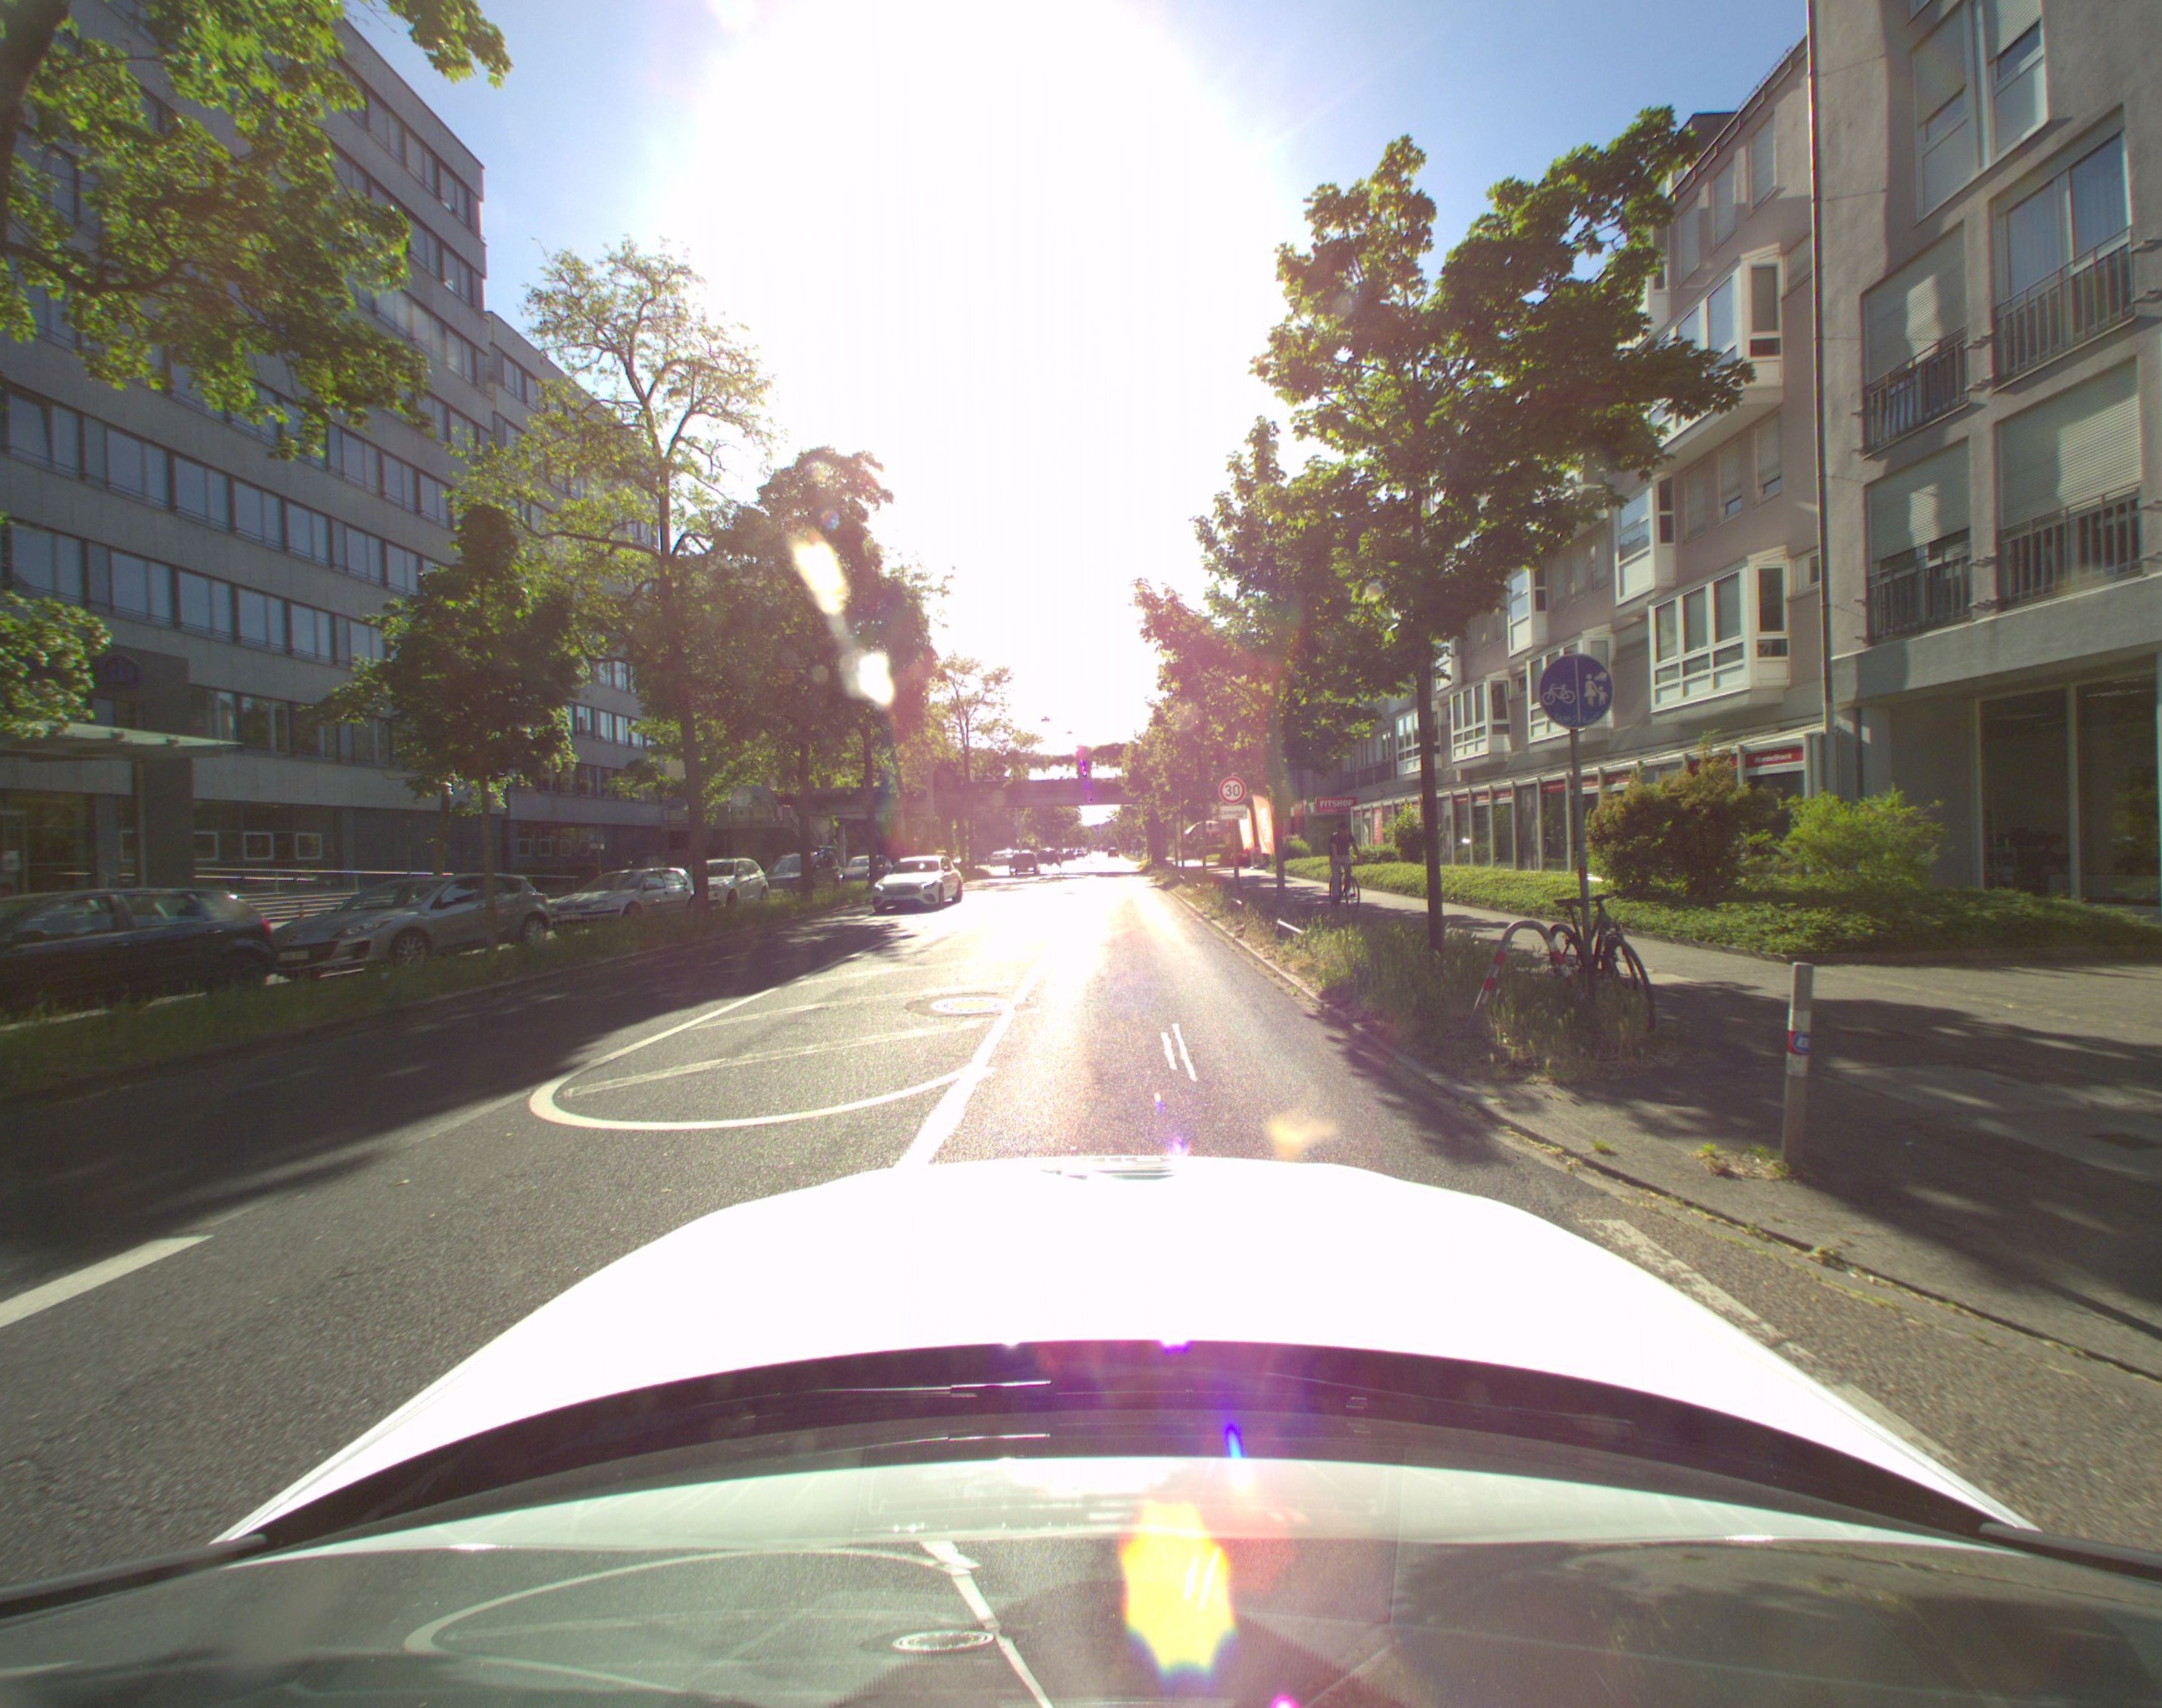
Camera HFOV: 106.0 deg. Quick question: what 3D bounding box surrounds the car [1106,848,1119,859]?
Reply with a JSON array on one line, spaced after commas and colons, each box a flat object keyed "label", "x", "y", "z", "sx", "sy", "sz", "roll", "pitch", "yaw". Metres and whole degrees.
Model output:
[{"label": "car", "x": 4.684, "y": -0.110, "z": 119.668, "sx": 1.848, "sy": 1.523, "sz": 4.323, "roll": -1, "pitch": 1, "yaw": 3}]

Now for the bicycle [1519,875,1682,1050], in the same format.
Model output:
[{"label": "bicycle", "x": 3.993, "y": 0.747, "z": 6.427, "sx": 0.586, "sy": 1.066, "sz": 2.032, "roll": -1, "pitch": 1, "yaw": 18}]

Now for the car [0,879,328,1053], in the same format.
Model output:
[{"label": "car", "x": -11.070, "y": 1.129, "z": 8.722, "sx": 1.774, "sy": 1.523, "sz": 4.323, "roll": -1, "pitch": 1, "yaw": 4}]

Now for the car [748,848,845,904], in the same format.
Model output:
[{"label": "car", "x": -10.332, "y": 0.730, "z": 29.995, "sx": 1.849, "sy": 1.850, "sz": 4.563, "roll": -1, "pitch": 1, "yaw": 1}]

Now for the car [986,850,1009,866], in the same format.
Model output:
[{"label": "car", "x": -8.339, "y": 0.402, "z": 81.524, "sx": 1.849, "sy": 1.523, "sz": 4.078, "roll": -1, "pitch": 1, "yaw": 1}]

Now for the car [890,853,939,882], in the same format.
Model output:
[{"label": "car", "x": -9.661, "y": 0.763, "z": 47.620, "sx": 1.849, "sy": 1.523, "sz": 4.320, "roll": -1, "pitch": 1, "yaw": 1}]

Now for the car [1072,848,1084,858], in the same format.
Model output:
[{"label": "car", "x": -0.458, "y": -0.204, "z": 135.417, "sx": 1.849, "sy": 1.523, "sz": 4.320, "roll": -1, "pitch": 1, "yaw": 1}]

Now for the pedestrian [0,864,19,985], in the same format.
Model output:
[{"label": "pedestrian", "x": -19.156, "y": 1.224, "z": 14.020, "sx": 0.784, "sy": 2.093, "sz": 0.776, "roll": 0, "pitch": -1, "yaw": 13}]

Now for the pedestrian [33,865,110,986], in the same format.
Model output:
[{"label": "pedestrian", "x": -18.173, "y": 1.241, "z": 14.666, "sx": 0.763, "sy": 2.093, "sz": 0.797, "roll": 0, "pitch": -1, "yaw": 34}]

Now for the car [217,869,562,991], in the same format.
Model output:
[{"label": "car", "x": -10.889, "y": 1.095, "z": 13.363, "sx": 1.849, "sy": 1.523, "sz": 4.320, "roll": -1, "pitch": 1, "yaw": 2}]

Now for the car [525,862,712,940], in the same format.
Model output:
[{"label": "car", "x": -10.653, "y": 1.019, "z": 19.156, "sx": 1.848, "sy": 1.523, "sz": 4.067, "roll": -1, "pitch": 1, "yaw": 3}]

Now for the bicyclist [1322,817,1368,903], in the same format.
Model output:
[{"label": "bicyclist", "x": 5.379, "y": 0.121, "z": 16.629, "sx": 0.665, "sy": 1.695, "sz": 0.889, "roll": -1, "pitch": 0, "yaw": 2}]

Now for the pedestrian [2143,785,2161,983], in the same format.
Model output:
[{"label": "pedestrian", "x": 9.061, "y": 0.218, "z": 6.353, "sx": 0.652, "sy": 1.604, "sz": 0.602, "roll": -5, "pitch": 0, "yaw": -4}]

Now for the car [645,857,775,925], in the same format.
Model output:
[{"label": "car", "x": -10.649, "y": 0.976, "z": 23.798, "sx": 1.852, "sy": 1.684, "sz": 4.659, "roll": -1, "pitch": 1, "yaw": -3}]

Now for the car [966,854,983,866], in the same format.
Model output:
[{"label": "car", "x": -15.203, "y": 0.832, "z": 116.529, "sx": 1.849, "sy": 1.523, "sz": 4.320, "roll": -1, "pitch": 1, "yaw": 1}]

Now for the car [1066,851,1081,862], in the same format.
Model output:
[{"label": "car", "x": -1.030, "y": 0.331, "z": 112.288, "sx": 1.849, "sy": 1.523, "sz": 4.320, "roll": -1, "pitch": 1, "yaw": 1}]

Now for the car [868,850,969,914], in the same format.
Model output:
[{"label": "car", "x": -4.672, "y": 0.737, "z": 24.171, "sx": 1.849, "sy": 1.568, "sz": 4.717, "roll": -3, "pitch": 0, "yaw": 1}]

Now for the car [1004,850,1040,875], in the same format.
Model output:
[{"label": "car", "x": -3.812, "y": 0.544, "z": 53.375, "sx": 1.849, "sy": 1.439, "sz": 4.320, "roll": -3, "pitch": 1, "yaw": 1}]

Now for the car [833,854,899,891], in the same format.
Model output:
[{"label": "car", "x": -9.951, "y": 0.834, "z": 37.925, "sx": 1.848, "sy": 1.568, "sz": 3.874, "roll": -1, "pitch": 1, "yaw": 2}]

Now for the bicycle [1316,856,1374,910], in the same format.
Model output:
[{"label": "bicycle", "x": 5.382, "y": 0.573, "z": 16.713, "sx": 0.587, "sy": 1.027, "sz": 1.860, "roll": -2, "pitch": 0, "yaw": 1}]
